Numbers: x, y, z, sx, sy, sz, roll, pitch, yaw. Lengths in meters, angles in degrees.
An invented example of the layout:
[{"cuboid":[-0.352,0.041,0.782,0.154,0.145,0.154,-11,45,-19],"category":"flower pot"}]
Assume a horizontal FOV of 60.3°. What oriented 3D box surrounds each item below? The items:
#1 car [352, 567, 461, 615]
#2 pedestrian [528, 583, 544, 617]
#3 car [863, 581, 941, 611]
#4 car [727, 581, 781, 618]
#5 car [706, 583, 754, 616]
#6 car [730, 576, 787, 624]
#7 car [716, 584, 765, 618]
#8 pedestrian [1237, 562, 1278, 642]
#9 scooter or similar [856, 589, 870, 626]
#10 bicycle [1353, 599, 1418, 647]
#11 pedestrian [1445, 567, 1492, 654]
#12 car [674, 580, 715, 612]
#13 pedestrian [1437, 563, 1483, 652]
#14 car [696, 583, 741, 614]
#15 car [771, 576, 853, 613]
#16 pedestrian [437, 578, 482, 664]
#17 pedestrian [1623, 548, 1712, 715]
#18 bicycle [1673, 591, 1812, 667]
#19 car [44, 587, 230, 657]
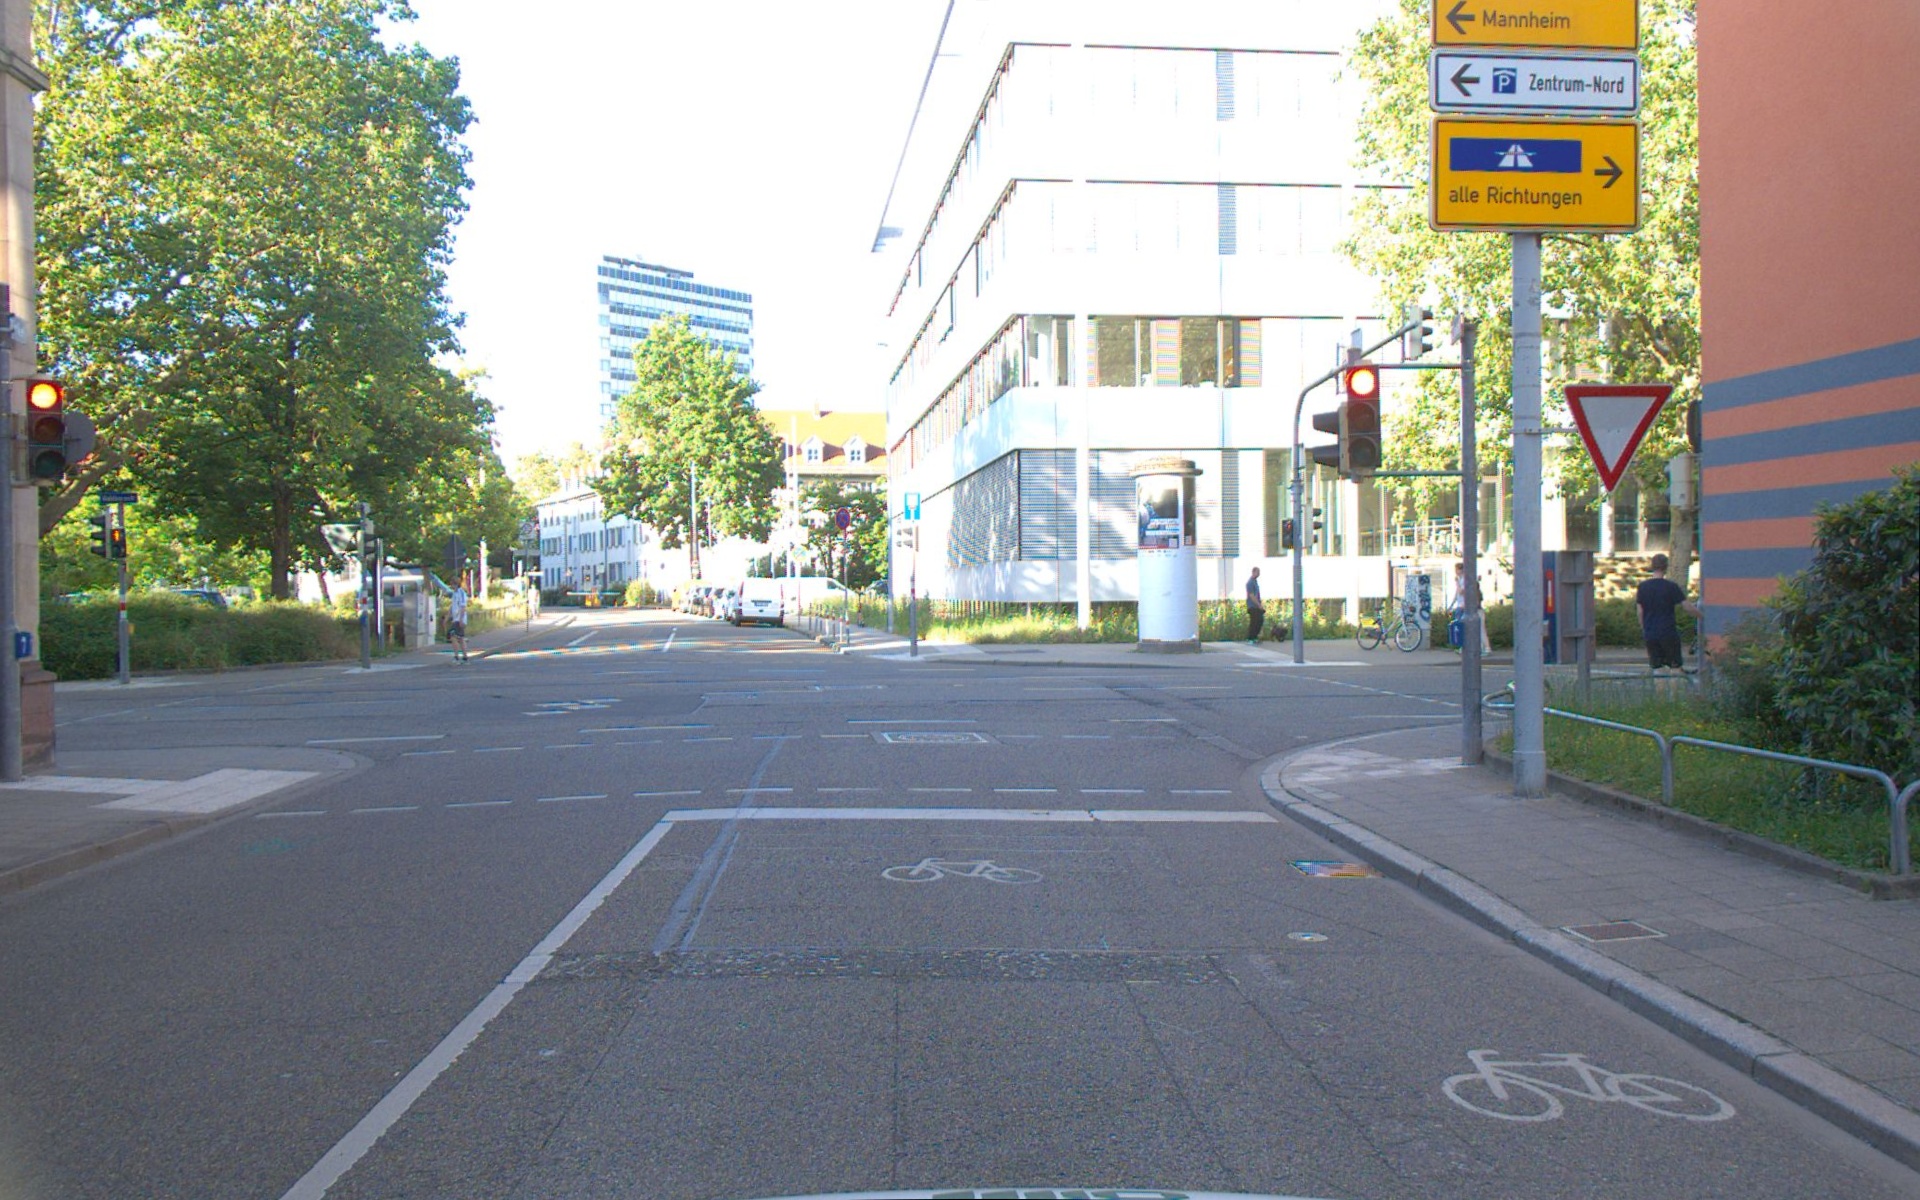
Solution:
[{"cuboid":[-24.959,-0.387,74.659,4.363,2.049,1.995,1,0,-10],"category":"car"},{"cuboid":[-20.038,0.004,78.163,0.688,1.614,0.634,1,-1,-16],"category":"pedestrian"},{"cuboid":[-3.672,-0.240,104.701,4.563,1.755,1.991,1,0,-17],"category":"car"},{"cuboid":[-8.865,-0.022,70.880,1.958,1.525,4.639,1,0,-11],"category":"car"},{"cuboid":[-11.304,-0.011,81.061,1.959,1.525,4.272,1,0,-13],"category":"car"},{"cuboid":[-7.913,0.012,64.680,1.957,1.755,4.641,1,0,-10],"category":"car"},{"cuboid":[-10.191,0.056,76.630,1.958,1.525,4.639,1,0,-11],"category":"car"},{"cuboid":[6.965,0.048,38.667,0.894,1.847,0.763,1,-1,11],"category":"pedestrian"},{"cuboid":[-3.424,0.263,58.214,0.429,1.278,1.418,-1,0,-5],"category":"scooter or similar"},{"cuboid":[9.327,0.501,36.261,0.376,1.026,1.410,-1,0,-42],"category":"bicycle"},{"cuboid":[10.456,0.211,34.018,0.749,1.749,0.648,1,-1,2],"category":"pedestrian"},{"cuboid":[-15.381,-0.214,95.582,1.960,1.755,4.635,1,0,-14],"category":"car"},{"cuboid":[10.487,0.156,34.713,0.749,1.826,0.648,1,-1,2],"category":"pedestrian"},{"cuboid":[-12.548,-0.053,85.767,1.959,1.525,4.637,1,0,-13],"category":"car"},{"cuboid":[-9.197,-0.354,102.775,4.718,2.196,1.990,1,0,-18],"category":"car"},{"cuboid":[-11.159,0.470,36.838,0.900,1.901,0.738,1,-1,-20],"category":"pedestrian"},{"cuboid":[8.019,0.347,18.745,0.713,1.842,0.691,1,-1,-42],"category":"pedestrian"},{"cuboid":[12.525,0.464,26.506,1.922,1.172,0.593,-1,0,5],"category":"bicycle"},{"cuboid":[-18.362,0.486,37.042,3.347,1.483,1.646,1,0,-11],"category":"car"}]
